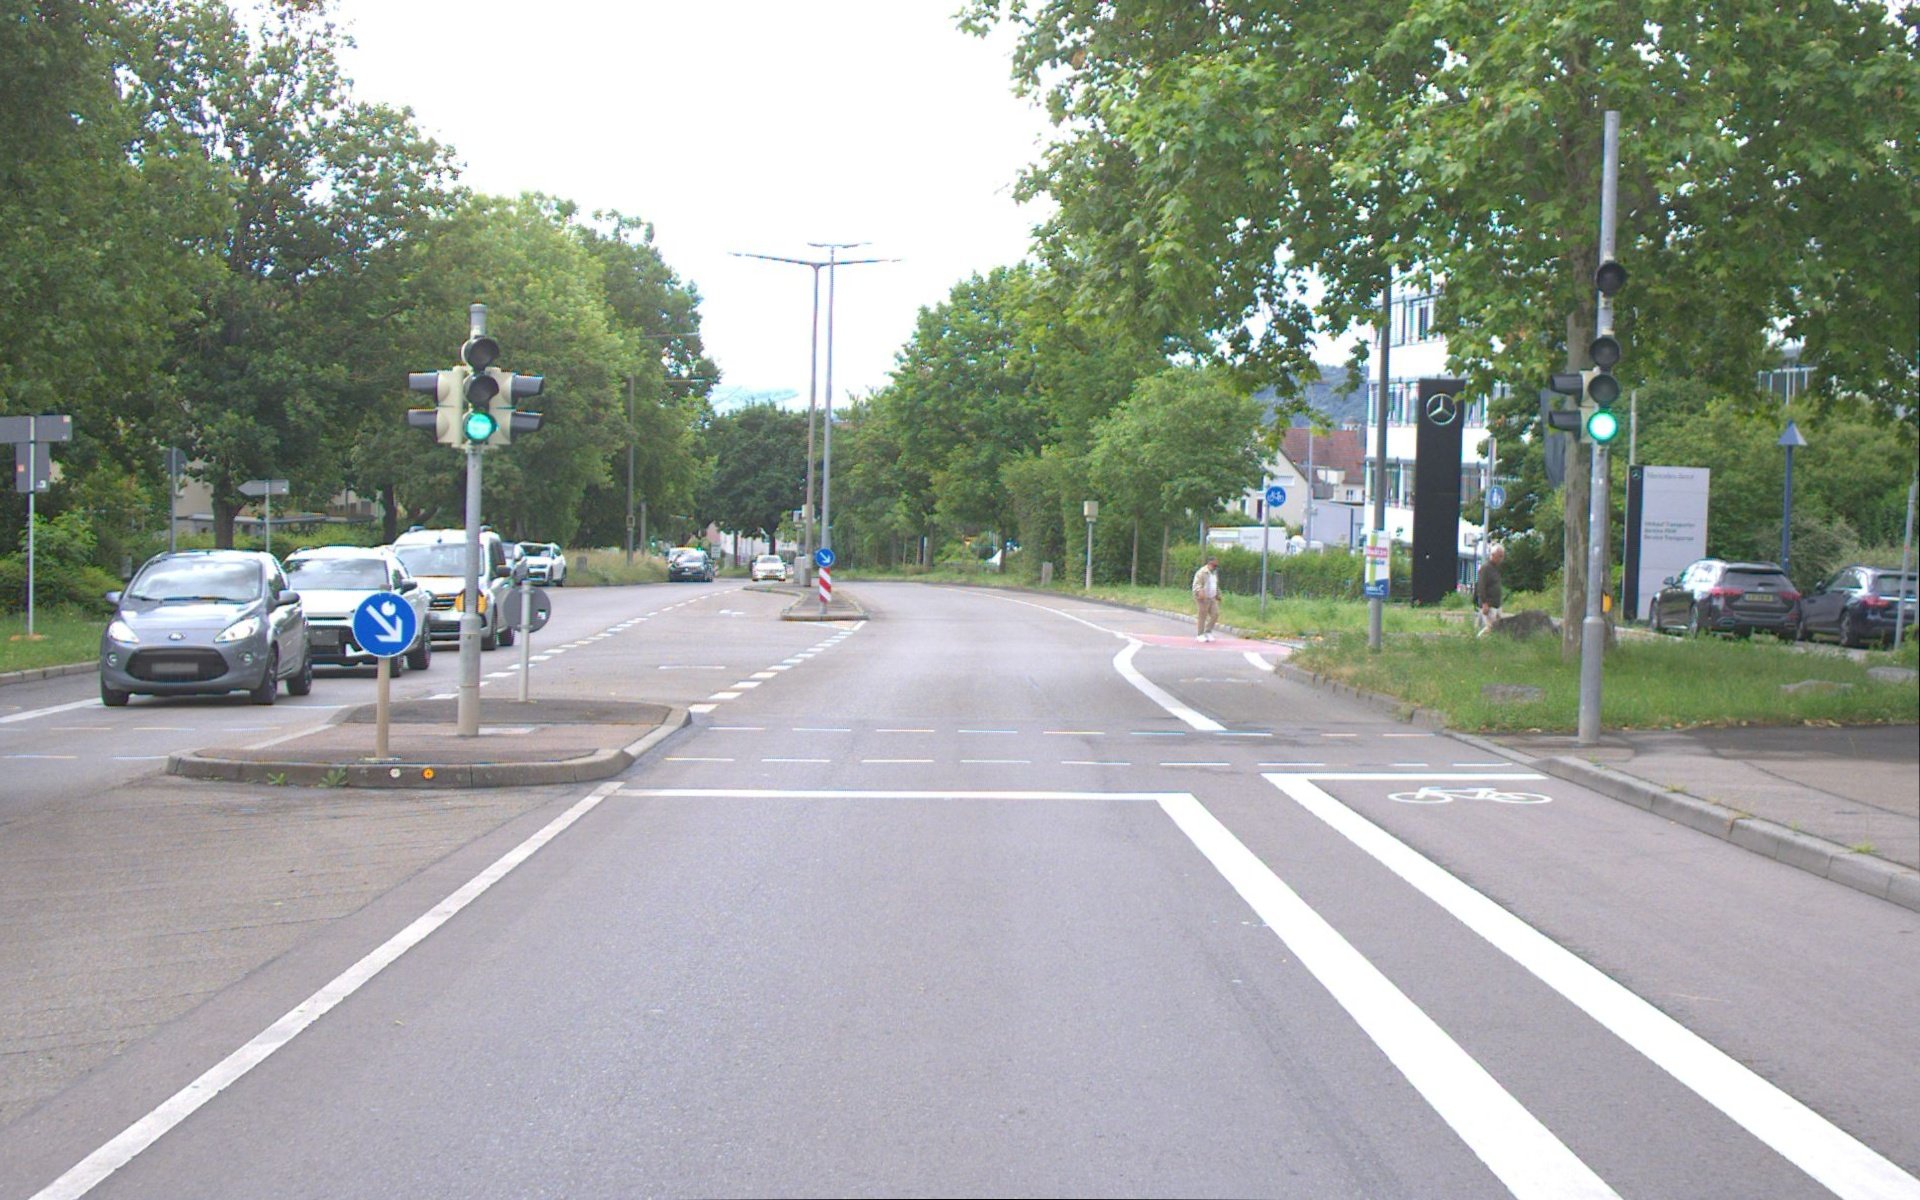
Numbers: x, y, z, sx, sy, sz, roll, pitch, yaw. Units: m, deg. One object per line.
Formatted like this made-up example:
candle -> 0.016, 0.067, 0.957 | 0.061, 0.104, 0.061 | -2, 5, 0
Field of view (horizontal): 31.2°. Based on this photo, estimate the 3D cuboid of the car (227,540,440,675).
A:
car -> -7.513, 0.048, 41.624 | 1.846, 1.515, 4.816 | -1, 1, -2

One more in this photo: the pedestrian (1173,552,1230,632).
pedestrian -> 4.454, -0.152, 63.313 | 0.788, 1.458, 0.749 | 1, 1, -19

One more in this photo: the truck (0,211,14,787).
truck -> -7.104, -0.517, 15.965 | 2.705, 3.475, 9.996 | 1, 1, -1

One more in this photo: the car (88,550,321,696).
car -> -7.330, 0.187, 33.655 | 1.547, 1.326, 3.654 | -1, 1, -1

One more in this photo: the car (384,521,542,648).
car -> -7.442, -0.263, 51.832 | 1.846, 1.797, 4.651 | -1, 1, -2

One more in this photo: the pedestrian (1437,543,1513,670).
pedestrian -> 7.393, 0.081, 49.356 | 0.748, 1.795, 0.860 | 2, 1, 34

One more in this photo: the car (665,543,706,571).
car -> -13.378, -2.099, 167.758 | 1.771, 1.300, 4.000 | 2, 1, -1

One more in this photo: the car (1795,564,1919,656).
car -> 16.478, 0.168, 61.959 | 1.710, 1.503, 4.344 | 3, 1, 0

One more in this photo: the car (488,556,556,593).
car -> -16.354, -0.959, 128.597 | 1.673, 1.300, 3.999 | 2, 1, 5

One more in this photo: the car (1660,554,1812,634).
car -> 13.873, -0.132, 61.683 | 1.710, 1.349, 4.344 | 1, 1, 0

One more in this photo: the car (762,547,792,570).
car -> -10.747, -2.440, 202.136 | 1.611, 1.300, 4.000 | 2, 1, -1

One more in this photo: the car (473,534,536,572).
car -> -16.363, -1.680, 123.660 | 1.672, 1.300, 4.000 | 2, 1, 1
